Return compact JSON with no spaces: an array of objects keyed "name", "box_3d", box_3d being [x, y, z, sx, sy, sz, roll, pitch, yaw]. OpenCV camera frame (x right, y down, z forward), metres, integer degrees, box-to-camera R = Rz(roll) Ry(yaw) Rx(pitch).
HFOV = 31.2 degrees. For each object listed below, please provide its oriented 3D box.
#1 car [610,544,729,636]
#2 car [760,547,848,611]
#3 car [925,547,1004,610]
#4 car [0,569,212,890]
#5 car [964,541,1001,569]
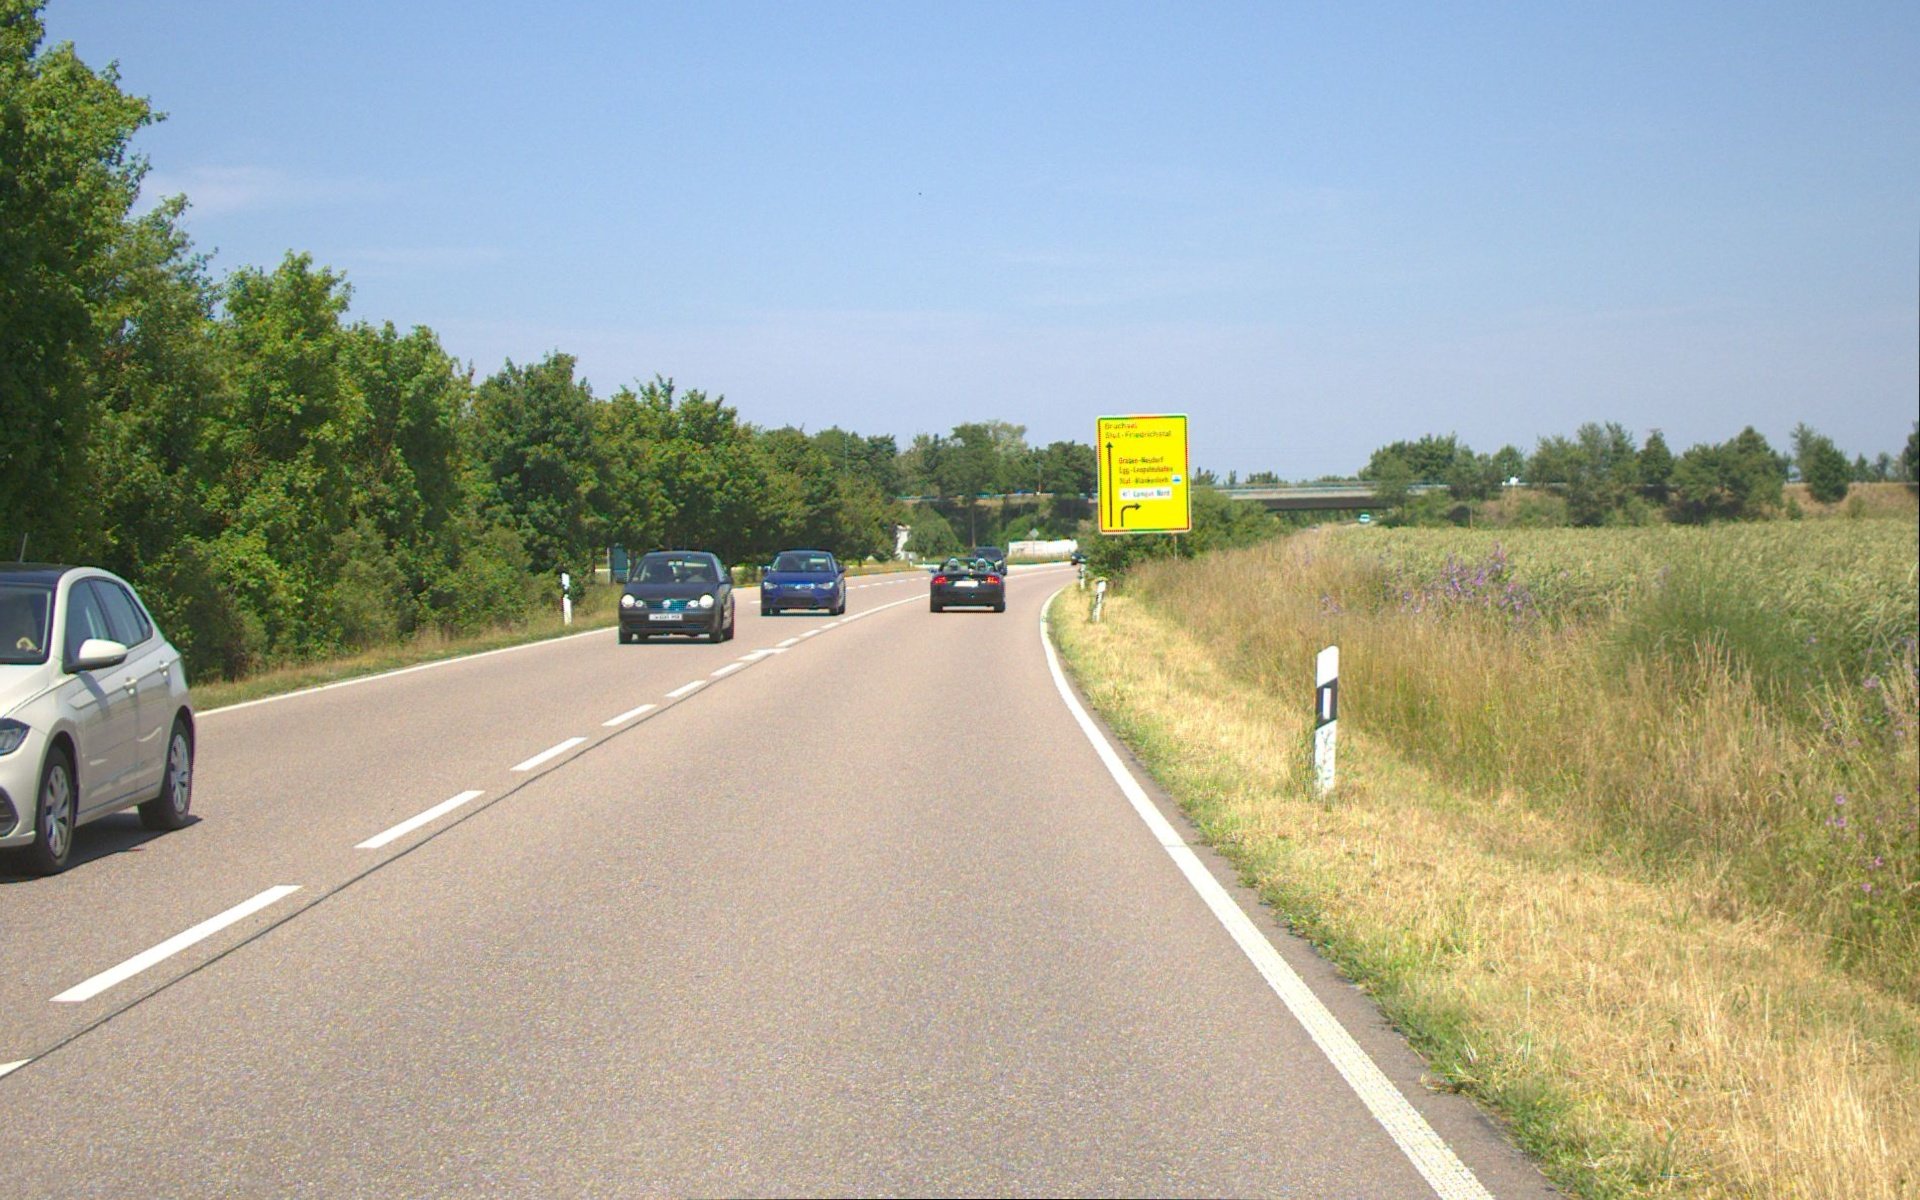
[{"name":"car","box_3d":[-4.672,-0.179,55.731,1.597,1.437,4.000,0,1,0]},{"name":"car","box_3d":[-3.513,-0.500,77.981,1.653,1.402,4.000,0,1,2]},{"name":"car","box_3d":[0.128,-0.522,81.797,1.814,1.436,4.000,1,1,1]},{"name":"car","box_3d":[-4.933,0.547,16.912,1.707,1.377,3.819,0,1,0]},{"name":"car","box_3d":[1.177,-2.295,176.583,1.781,1.415,4.534,0,1,2]}]
